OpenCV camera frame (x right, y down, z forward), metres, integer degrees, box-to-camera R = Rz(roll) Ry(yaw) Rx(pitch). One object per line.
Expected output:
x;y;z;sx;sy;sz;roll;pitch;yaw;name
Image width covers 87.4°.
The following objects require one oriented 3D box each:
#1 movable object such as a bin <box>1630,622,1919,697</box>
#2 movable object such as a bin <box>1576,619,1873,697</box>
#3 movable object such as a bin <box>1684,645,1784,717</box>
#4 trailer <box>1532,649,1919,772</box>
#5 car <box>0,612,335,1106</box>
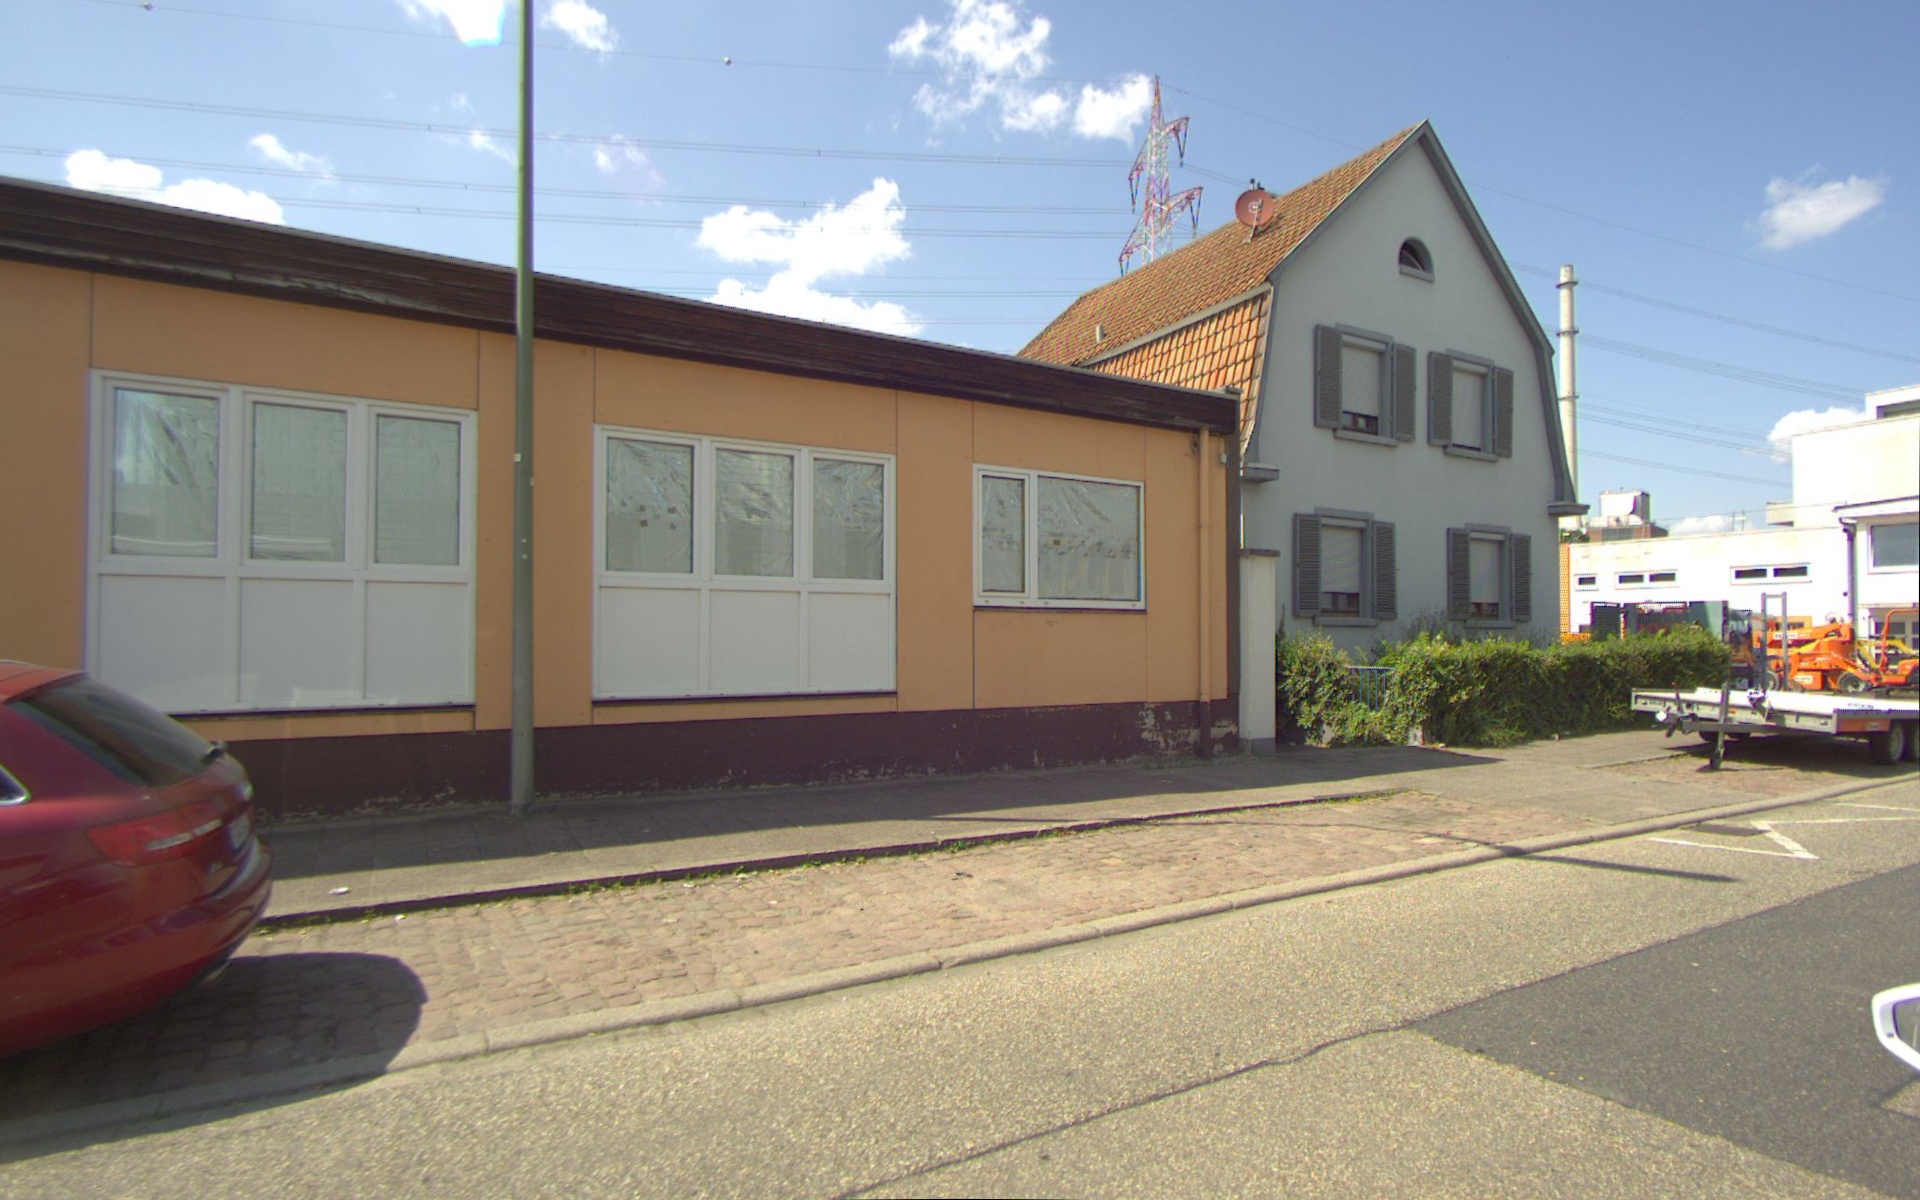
25.203;1.706;30.852;1.886;2.031;7.549;1;-2;-34;movable object such as a bin
22.365;1.601;29.824;1.886;2.031;6.817;1;-2;-34;movable object such as a bin
16.134;1.660;20.958;1.176;1.446;1.308;2;-3;-33;movable object such as a bin
10.329;1.279;12.926;5.979;1.179;2.440;2;-1;-29;trailer
-4.701;0.772;3.098;4.574;1.487;1.702;2;0;-29;car
